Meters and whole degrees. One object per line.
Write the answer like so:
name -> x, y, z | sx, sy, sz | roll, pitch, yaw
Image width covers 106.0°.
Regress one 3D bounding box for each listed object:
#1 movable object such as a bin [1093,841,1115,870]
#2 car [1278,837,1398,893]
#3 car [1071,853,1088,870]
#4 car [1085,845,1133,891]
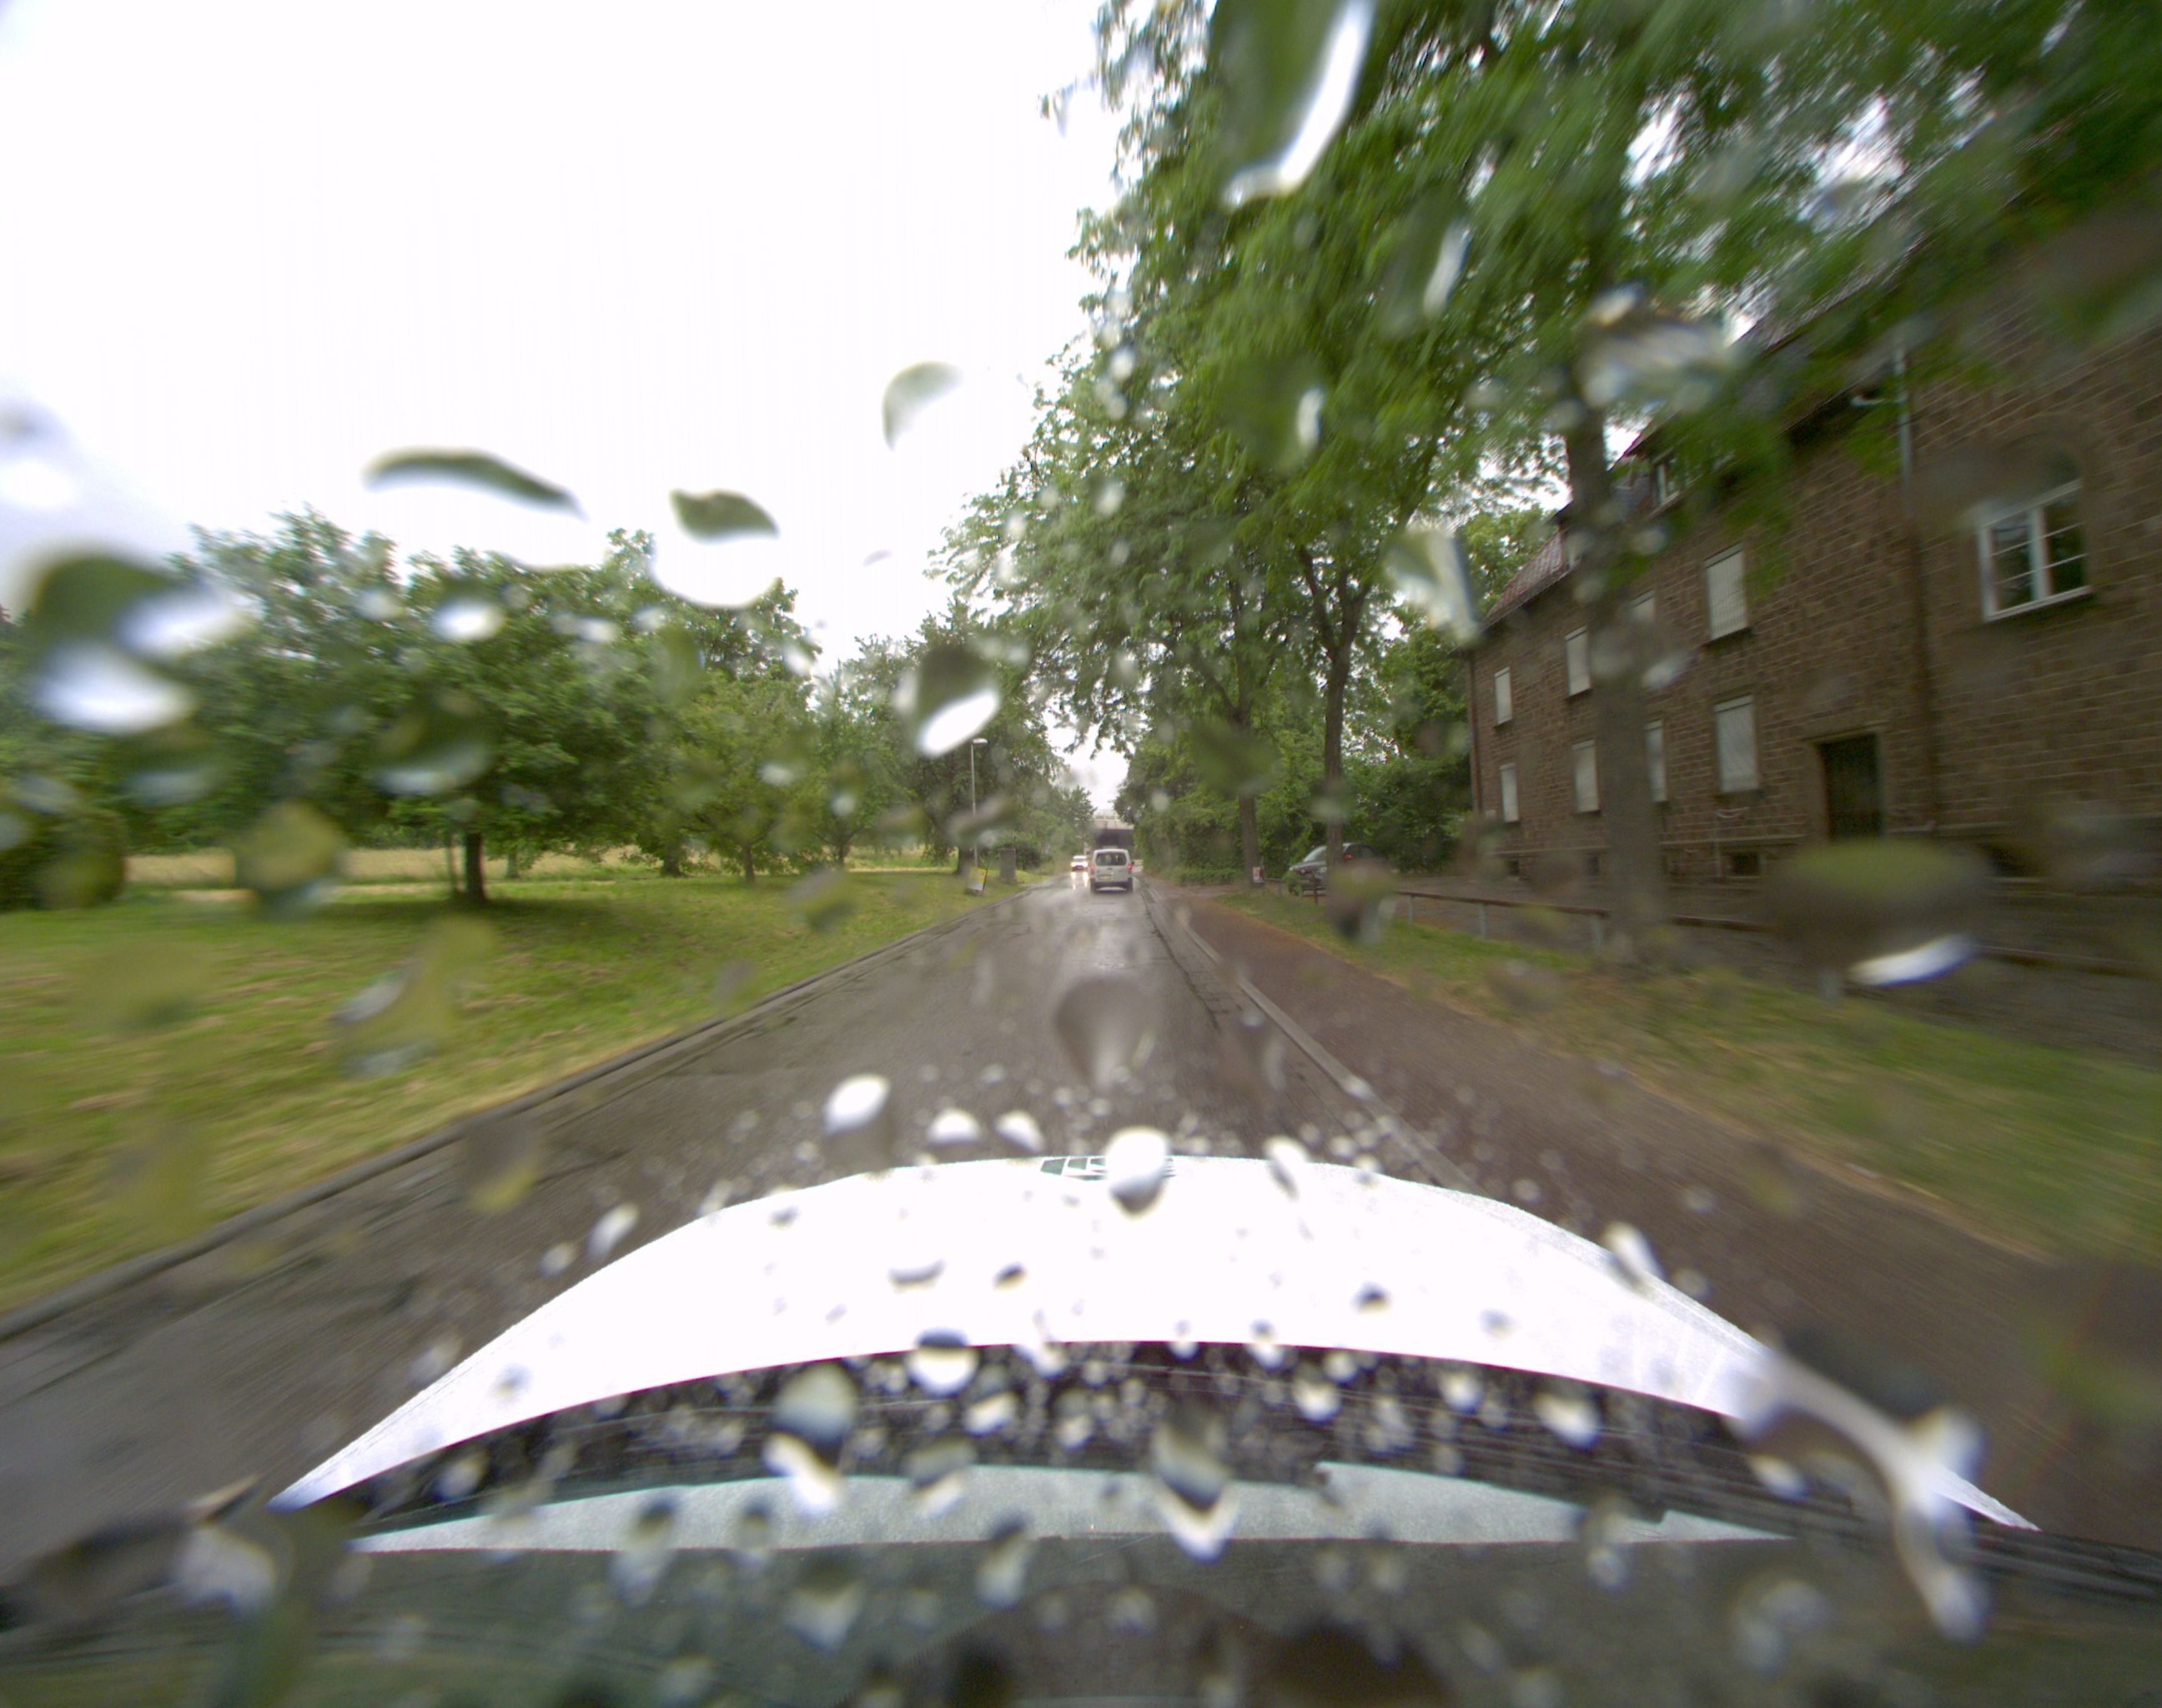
movable object such as a bin -> 2.179, 0.148, 75.859 | 1.753, 2.548, 4.244 | -1, -1, 5
car -> 7.939, 0.316, 25.065 | 3.628, 1.551, 1.604 | -2, -1, -35
car -> -0.179, 0.889, 94.487 | 1.817, 1.832, 4.307 | -1, -1, 1
car -> 1.240, 0.556, 35.350 | 1.889, 1.807, 4.003 | -3, 0, 3
